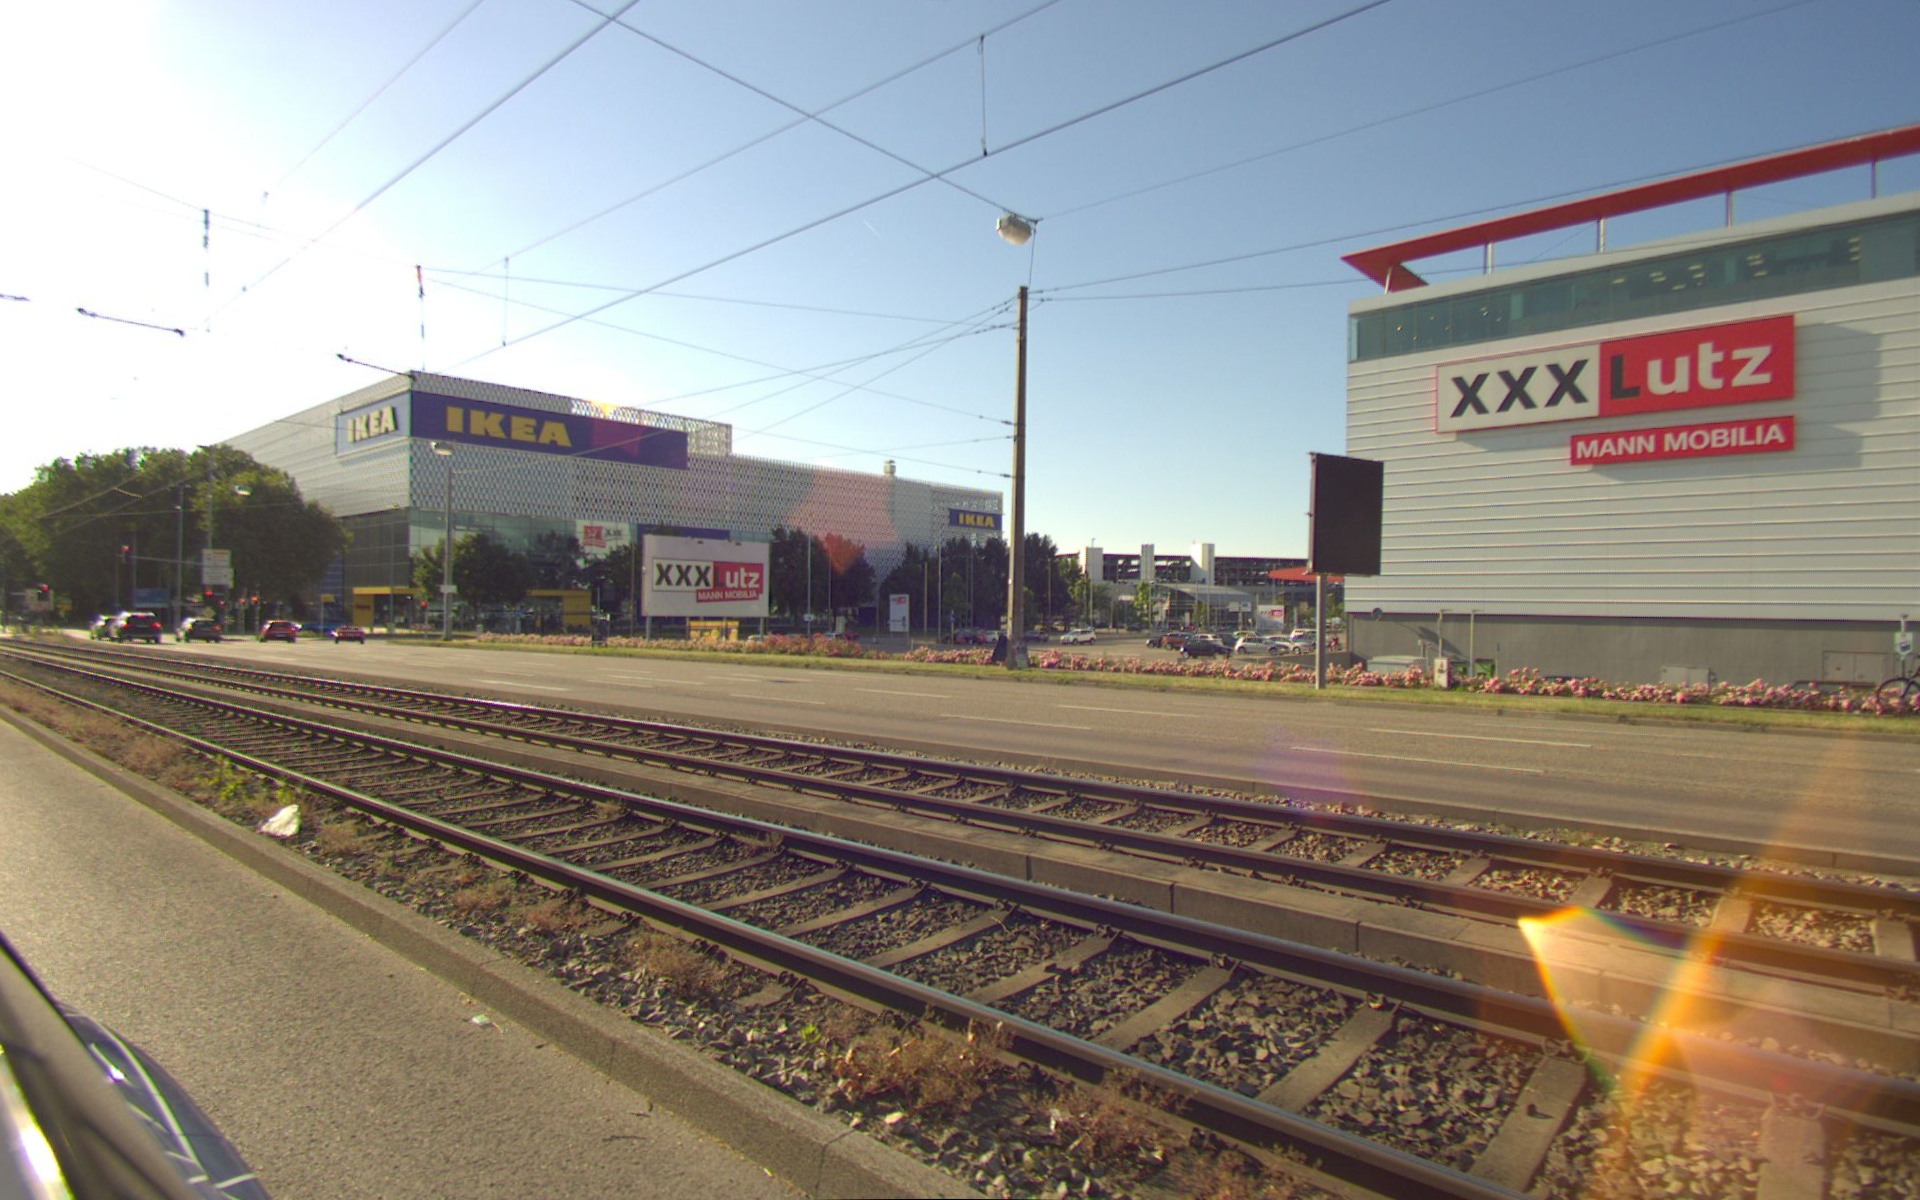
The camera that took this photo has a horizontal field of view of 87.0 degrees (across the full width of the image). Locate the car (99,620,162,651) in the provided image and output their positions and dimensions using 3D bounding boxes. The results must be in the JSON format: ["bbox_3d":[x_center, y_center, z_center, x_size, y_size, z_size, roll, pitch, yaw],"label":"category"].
[{"bbox_3d":[-45.898,1.935,55.949,4.657,1.668,1.972,-1,-3,42],"label":"car"}]

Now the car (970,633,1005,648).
[{"bbox_3d":[3.205,4.713,117.972,3.999,1.668,1.704,-1,-1,42],"label":"car"}]

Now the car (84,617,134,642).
[{"bbox_3d":[-51.504,1.772,61.222,4.107,1.459,1.764,-1,-2,42],"label":"car"}]

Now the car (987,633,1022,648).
[{"bbox_3d":[5.231,4.797,119.770,3.999,1.668,1.777,-1,-1,42],"label":"car"}]

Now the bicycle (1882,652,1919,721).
[{"bbox_3d":[17.685,1.554,17.839,0.653,1.159,2.025,-2,1,-39],"label":"bicycle"}]

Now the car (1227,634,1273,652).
[{"bbox_3d":[28.678,4.237,100.166,3.994,1.631,1.856,-1,1,38],"label":"car"}]

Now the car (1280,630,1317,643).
[{"bbox_3d":[41.837,4.484,125.070,4.000,1.459,1.853,-1,1,43],"label":"car"}]

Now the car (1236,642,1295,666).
[{"bbox_3d":[24.070,4.219,79.880,3.997,1.715,1.901,-1,1,40],"label":"car"}]

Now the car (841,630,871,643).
[{"bbox_3d":[-13.526,4.752,131.663,1.770,1.471,3.538,0,-3,40],"label":"car"}]

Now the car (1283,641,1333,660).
[{"bbox_3d":[29.777,4.304,86.573,3.666,1.378,1.636,-1,1,43],"label":"car"}]

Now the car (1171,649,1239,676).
[{"bbox_3d":[17.826,4.530,73.750,4.445,1.715,1.901,-1,1,40],"label":"car"}]

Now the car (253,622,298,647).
[{"bbox_3d":[-44.300,2.234,65.467,1.911,1.488,4.138,3,-3,-41],"label":"car"}]

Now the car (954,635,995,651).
[{"bbox_3d":[1.586,4.805,113.133,4.432,1.563,1.652,-1,1,37],"label":"car"}]

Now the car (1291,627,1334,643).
[{"bbox_3d":[38.191,3.764,109.708,3.991,1.631,1.857,-1,1,35],"label":"car"}]

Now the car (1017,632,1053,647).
[{"bbox_3d":[9.166,4.820,123.209,3.999,1.668,1.972,-1,-1,42],"label":"car"}]

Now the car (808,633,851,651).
[{"bbox_3d":[-12.997,4.136,100.533,3.994,1.605,1.911,-1,1,38],"label":"car"}]

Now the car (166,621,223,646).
[{"bbox_3d":[-45.802,1.987,60.519,4.133,1.472,1.838,-1,-1,40],"label":"car"}]

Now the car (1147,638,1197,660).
[{"bbox_3d":[19.414,4.448,92.535,3.997,1.827,1.973,-1,1,40],"label":"car"}]

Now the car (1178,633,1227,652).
[{"bbox_3d":[22.387,3.882,93.378,3.994,1.631,1.856,-1,1,38],"label":"car"}]

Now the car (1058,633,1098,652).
[{"bbox_3d":[12.984,4.623,111.409,4.161,1.813,1.831,-3,1,-37],"label":"car"}]

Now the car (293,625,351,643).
[{"bbox_3d":[-59.201,3.133,93.919,4.194,1.509,2.018,4,-3,-44],"label":"car"}]

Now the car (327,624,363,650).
[{"bbox_3d":[-41.293,2.454,67.883,1.796,1.655,4.010,2,-2,-34],"label":"car"}]

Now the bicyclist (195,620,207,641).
[{"bbox_3d":[-56.812,2.281,75.710,0.751,1.534,0.581,-1,-1,42],"label":"bicyclist"}]
